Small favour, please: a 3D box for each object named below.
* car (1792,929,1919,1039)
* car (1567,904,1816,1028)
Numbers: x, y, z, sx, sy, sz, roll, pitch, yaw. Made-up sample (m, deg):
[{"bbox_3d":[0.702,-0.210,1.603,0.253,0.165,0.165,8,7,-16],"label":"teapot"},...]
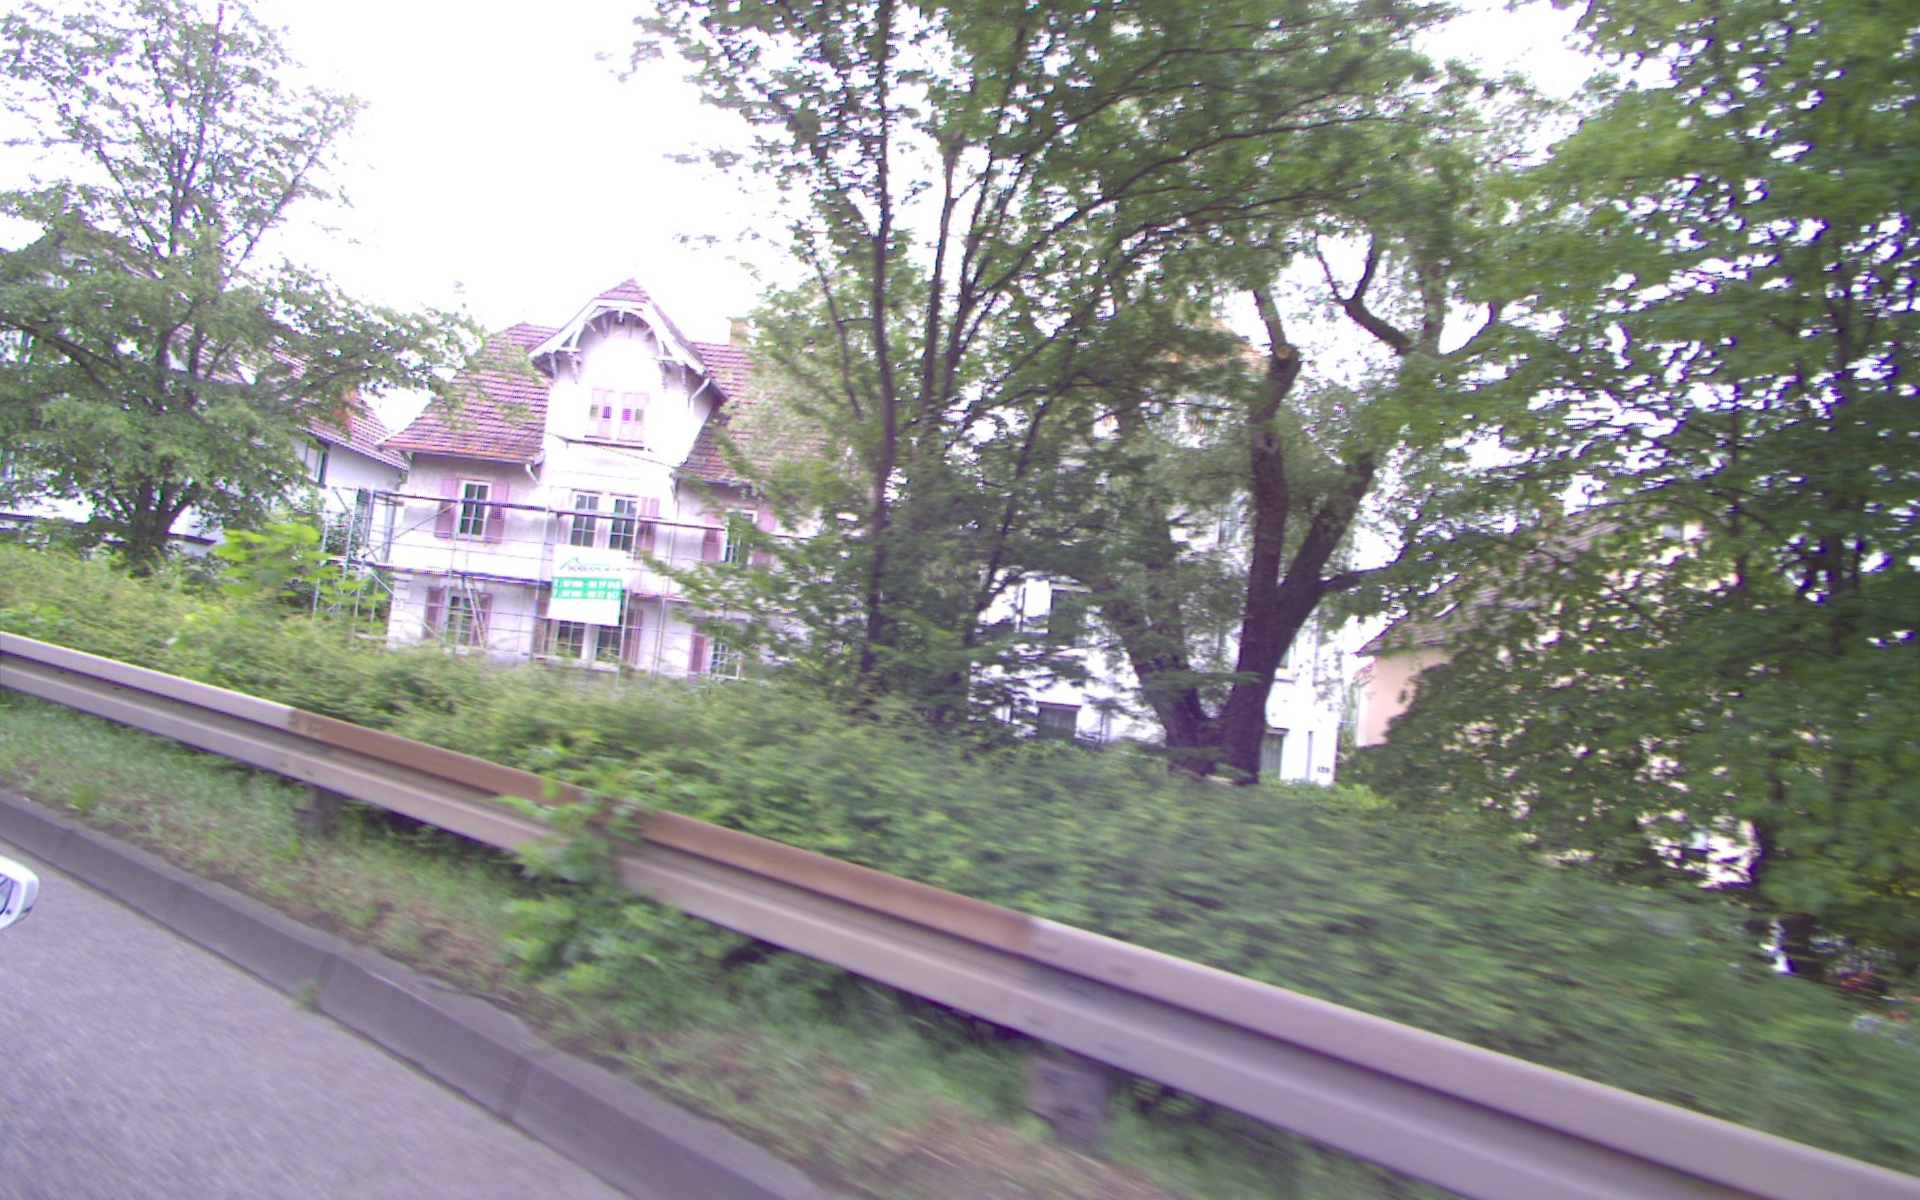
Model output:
[{"bbox_3d":[19.631,7.972,20.342,4.228,1.536,1.627,10,-5,-2],"label":"car"},{"bbox_3d":[14.668,7.338,20.300,3.701,1.408,1.654,10,-5,1],"label":"car"}]
